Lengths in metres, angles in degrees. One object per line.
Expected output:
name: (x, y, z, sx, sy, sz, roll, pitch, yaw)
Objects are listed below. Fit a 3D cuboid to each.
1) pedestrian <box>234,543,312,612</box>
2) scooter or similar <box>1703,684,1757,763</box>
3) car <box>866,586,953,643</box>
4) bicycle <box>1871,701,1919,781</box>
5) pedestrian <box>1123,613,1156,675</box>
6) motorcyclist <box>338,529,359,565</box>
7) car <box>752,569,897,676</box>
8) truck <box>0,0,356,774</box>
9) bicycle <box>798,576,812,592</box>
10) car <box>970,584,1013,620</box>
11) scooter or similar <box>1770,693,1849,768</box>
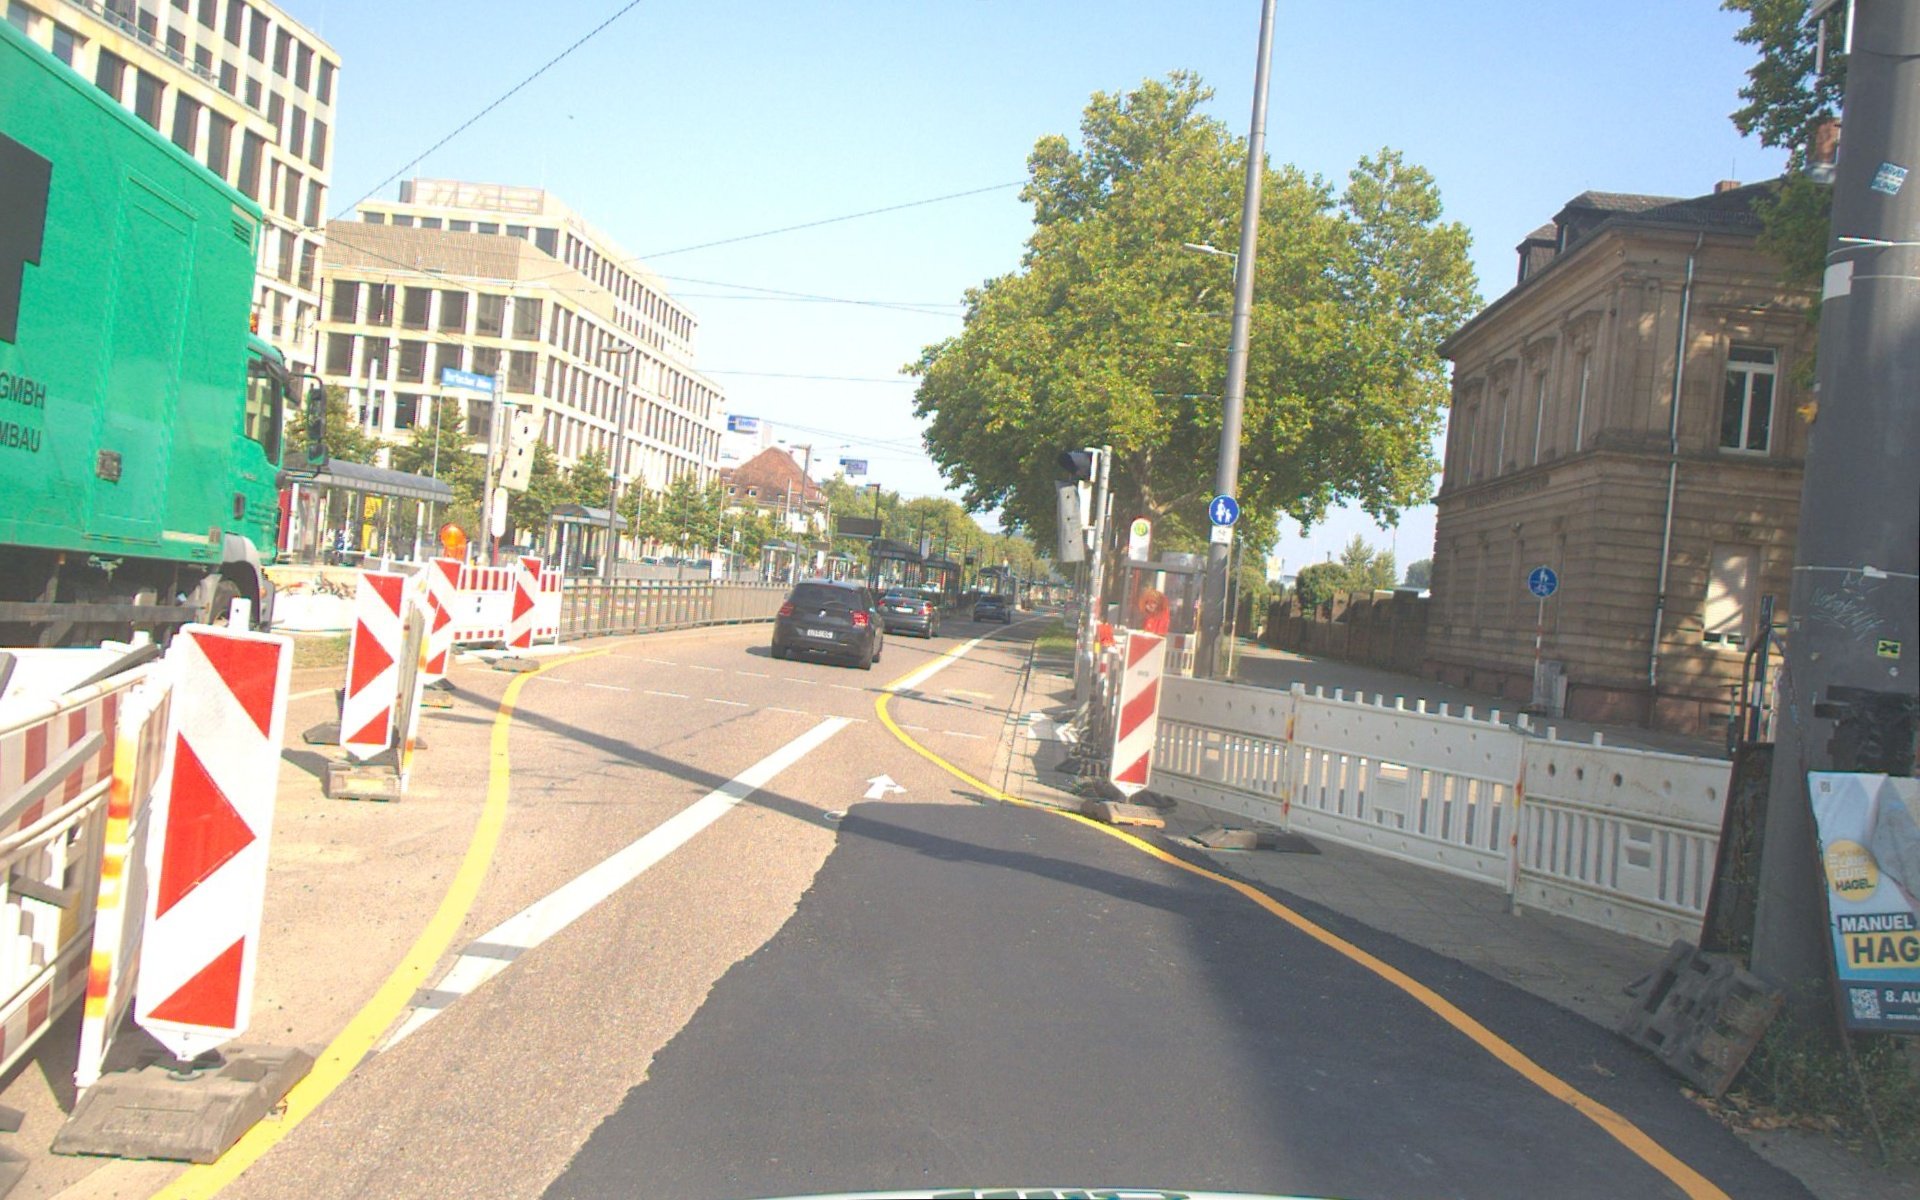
pedestrian: (-10.439, -0.336, 25.157, 0.686, 0.971, 0.882, 5, 1, 4)
scooter or similar: (12.878, 2.054, 27.696, 0.400, 1.186, 1.227, 5, 0, 8)
car: (-1.457, 0.422, 49.573, 1.952, 1.466, 4.003, 5, 0, 6)
bicycle: (15.683, 2.334, 27.337, 0.487, 1.186, 1.630, 5, 0, 8)
pedestrian: (3.934, 0.962, 36.340, 0.595, 1.299, 0.759, 4, 0, 2)
motorcyclist: (-20.881, -1.814, 56.511, 0.420, 1.199, 0.516, 2, -1, 8)
car: (-2.338, 0.369, 29.619, 1.869, 1.563, 4.002, 7, 0, 4)
truck: (-6.151, -1.179, 9.222, 2.754, 3.853, 9.006, 4, 1, -5)
bicycle: (-12.260, -1.232, 131.124, 0.461, 1.167, 1.484, 5, 0, 19)
car: (1.640, 0.112, 84.937, 1.868, 1.563, 4.002, 7, 0, 4)
scooter or similar: (14.337, 2.196, 27.918, 1.069, 1.152, 0.313, 5, 0, 1)
